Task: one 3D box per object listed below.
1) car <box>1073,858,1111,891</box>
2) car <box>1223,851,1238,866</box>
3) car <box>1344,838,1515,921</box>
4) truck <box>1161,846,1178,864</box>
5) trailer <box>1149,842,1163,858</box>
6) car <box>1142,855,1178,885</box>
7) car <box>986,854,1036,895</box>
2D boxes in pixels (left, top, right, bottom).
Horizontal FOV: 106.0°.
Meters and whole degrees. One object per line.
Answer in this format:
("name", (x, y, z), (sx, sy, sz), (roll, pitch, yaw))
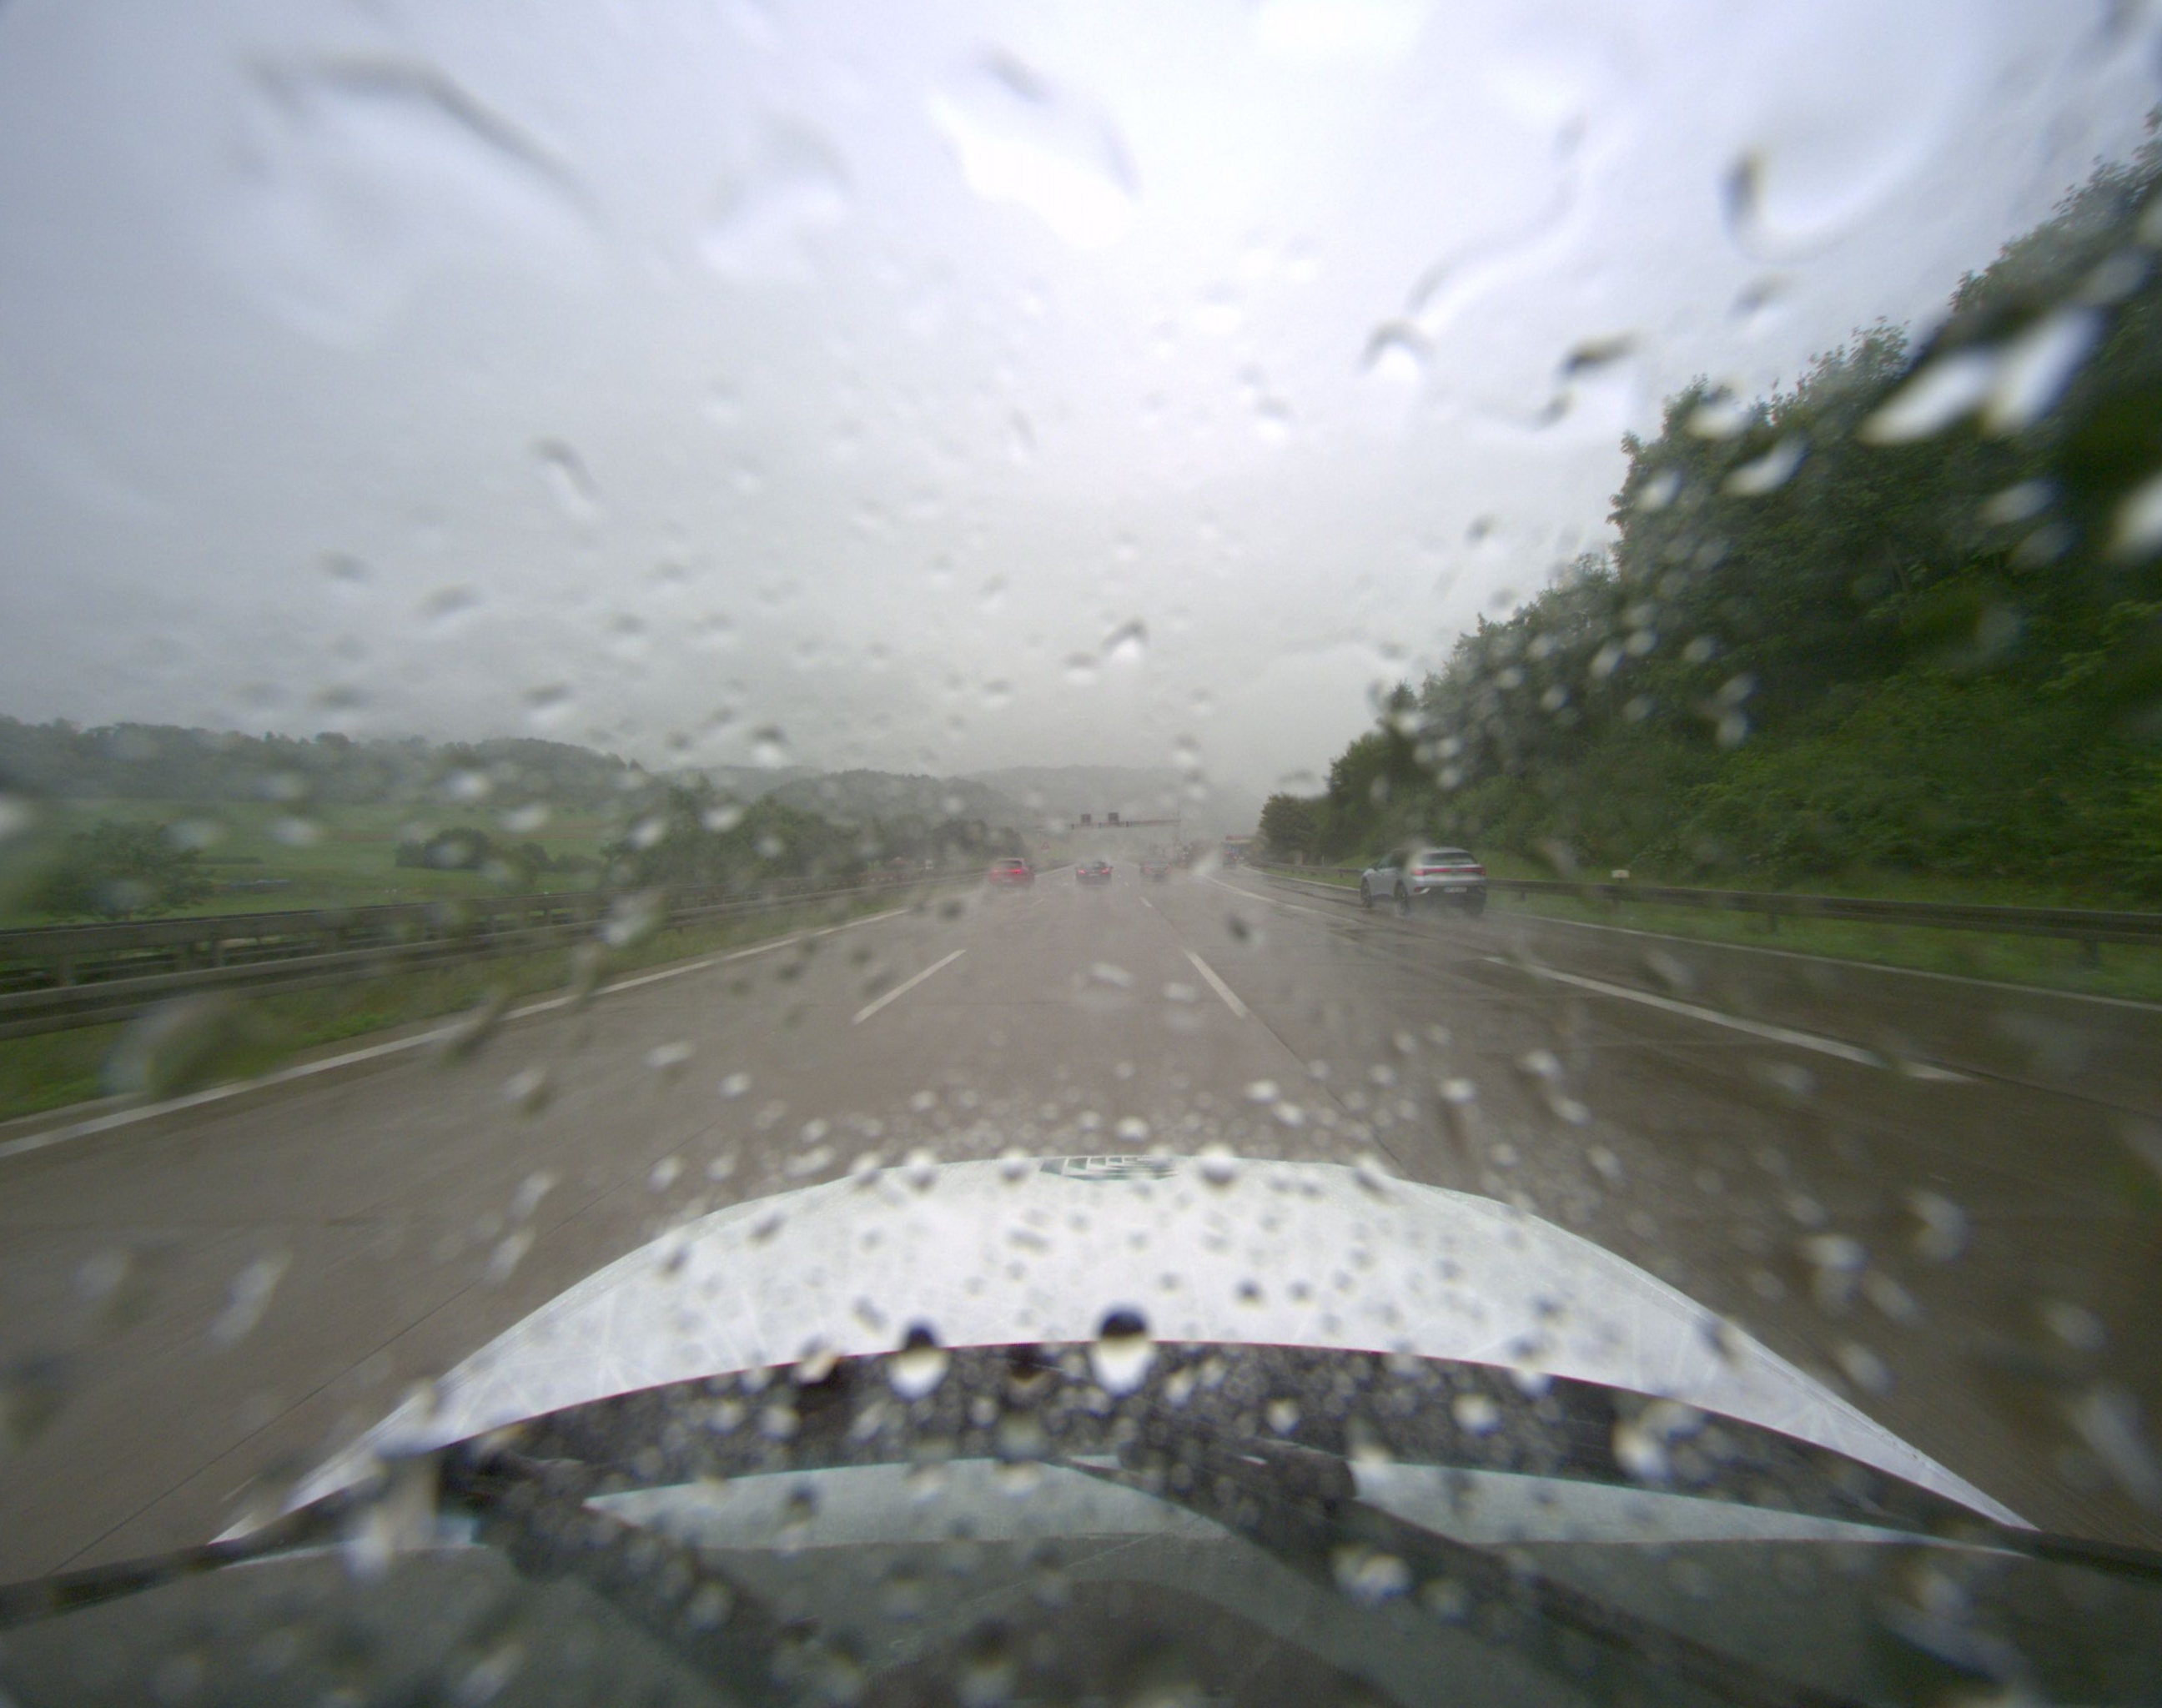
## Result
("car", (0.630, 1.016, 41.887), (1.852, 1.589, 4.002), (-1, -1, 2))
("car", (20.834, 0.613, 113.367), (1.981, 2.013, 5.068), (-1, 0, 10))
("car", (8.383, 0.570, 20.276), (1.986, 1.750, 5.665), (-1, -1, 2))
("truck", (22.029, 0.179, 202.284), (3.388, 4.402, 11.054), (0, 0, 2))
("trailer", (21.430, -1.005, 232.608), (3.502, 4.261, 11.928), (-1, -1, 3))
("car", (4.956, 0.996, 51.446), (1.964, 1.760, 4.002), (-2, 0, 2))
("car", (-3.301, 0.950, 39.075), (1.878, 1.816, 4.001), (-2, 0, 1))
